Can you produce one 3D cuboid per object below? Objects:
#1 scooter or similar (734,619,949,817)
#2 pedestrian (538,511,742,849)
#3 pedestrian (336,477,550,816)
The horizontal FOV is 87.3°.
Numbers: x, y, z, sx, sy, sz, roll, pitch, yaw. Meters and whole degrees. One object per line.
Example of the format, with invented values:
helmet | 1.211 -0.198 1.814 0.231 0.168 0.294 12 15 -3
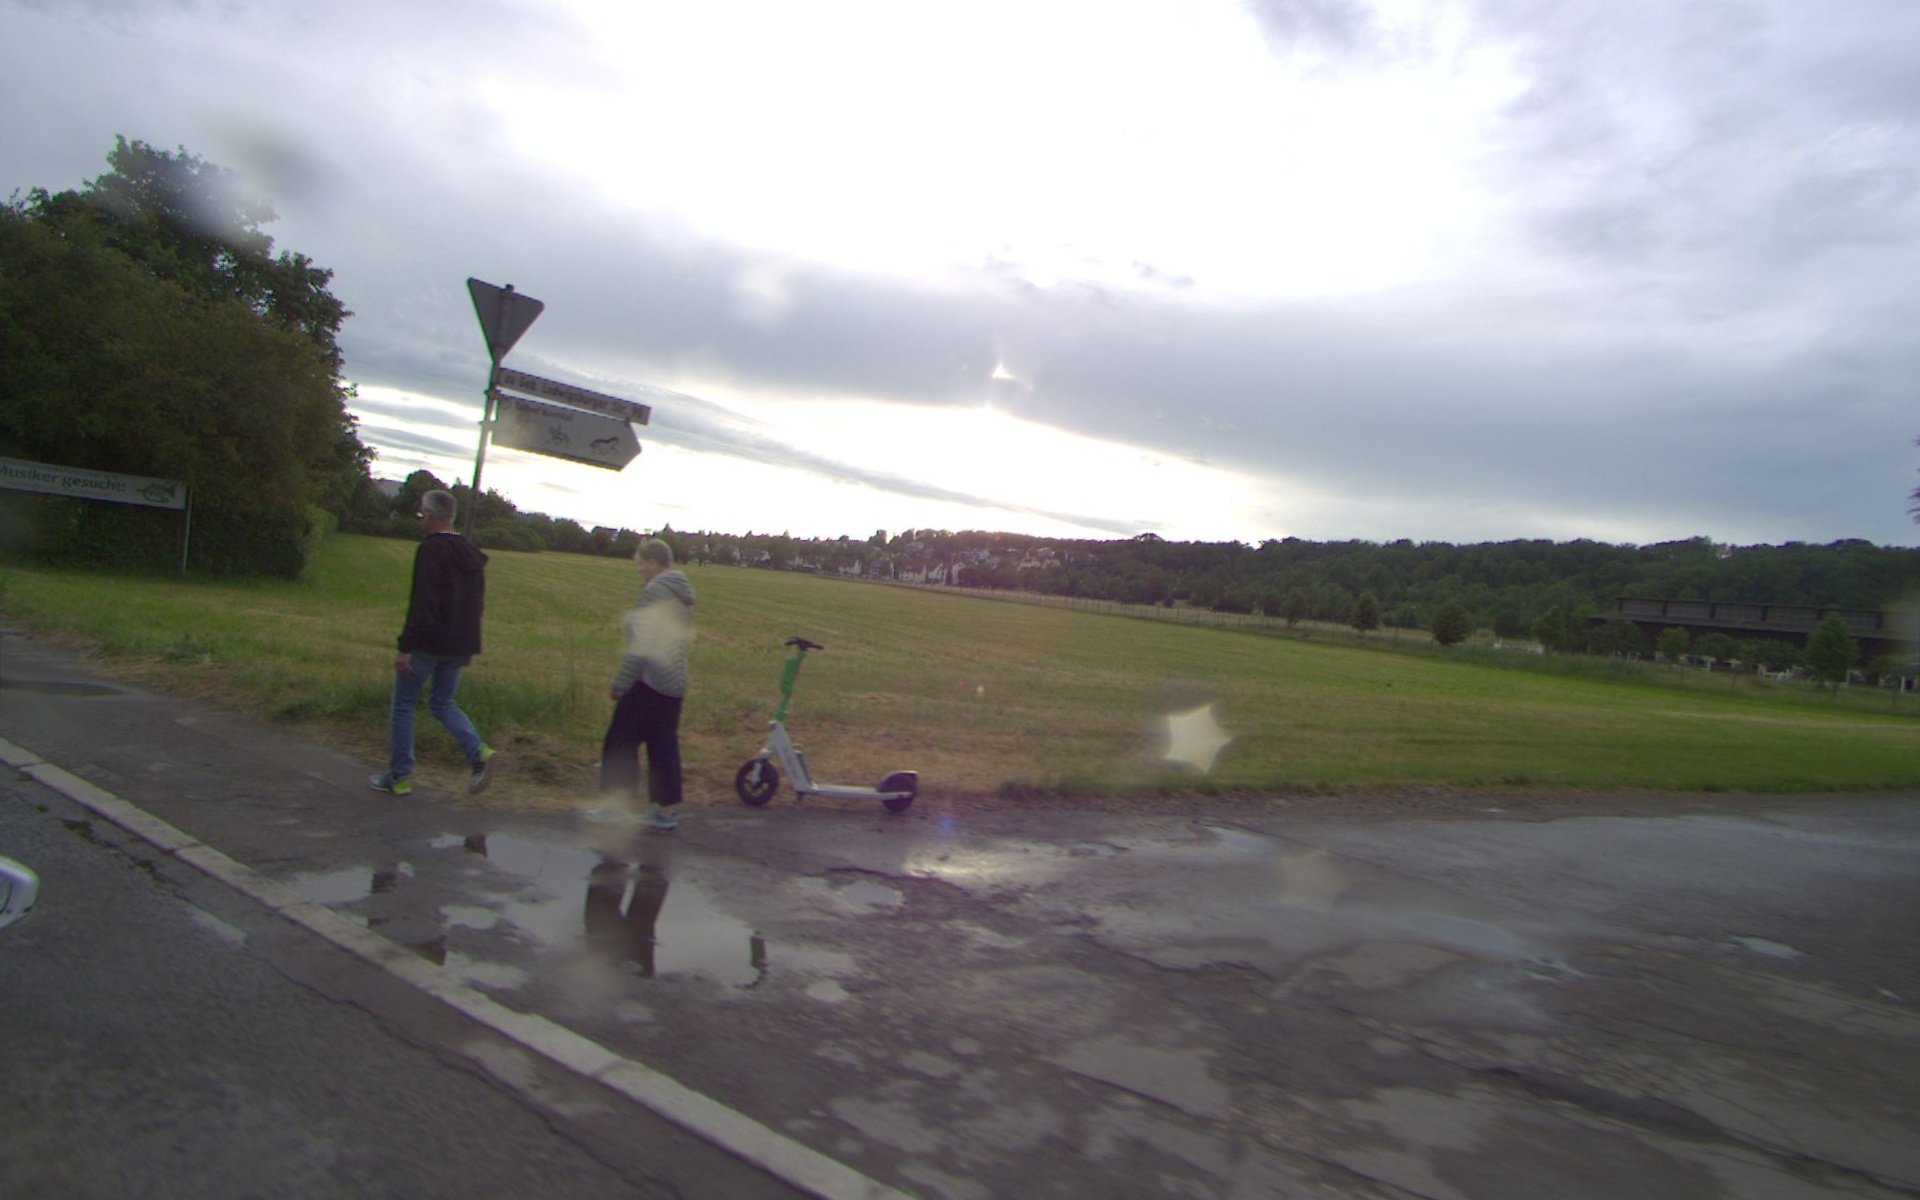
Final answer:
scooter or similar | -0.815 0.817 6.924 1.308 1.221 0.372 6 1 -18
pedestrian | -1.871 0.437 5.896 0.747 1.801 0.661 7 1 32
pedestrian | -3.085 0.254 6.017 0.788 1.851 0.693 7 1 32
